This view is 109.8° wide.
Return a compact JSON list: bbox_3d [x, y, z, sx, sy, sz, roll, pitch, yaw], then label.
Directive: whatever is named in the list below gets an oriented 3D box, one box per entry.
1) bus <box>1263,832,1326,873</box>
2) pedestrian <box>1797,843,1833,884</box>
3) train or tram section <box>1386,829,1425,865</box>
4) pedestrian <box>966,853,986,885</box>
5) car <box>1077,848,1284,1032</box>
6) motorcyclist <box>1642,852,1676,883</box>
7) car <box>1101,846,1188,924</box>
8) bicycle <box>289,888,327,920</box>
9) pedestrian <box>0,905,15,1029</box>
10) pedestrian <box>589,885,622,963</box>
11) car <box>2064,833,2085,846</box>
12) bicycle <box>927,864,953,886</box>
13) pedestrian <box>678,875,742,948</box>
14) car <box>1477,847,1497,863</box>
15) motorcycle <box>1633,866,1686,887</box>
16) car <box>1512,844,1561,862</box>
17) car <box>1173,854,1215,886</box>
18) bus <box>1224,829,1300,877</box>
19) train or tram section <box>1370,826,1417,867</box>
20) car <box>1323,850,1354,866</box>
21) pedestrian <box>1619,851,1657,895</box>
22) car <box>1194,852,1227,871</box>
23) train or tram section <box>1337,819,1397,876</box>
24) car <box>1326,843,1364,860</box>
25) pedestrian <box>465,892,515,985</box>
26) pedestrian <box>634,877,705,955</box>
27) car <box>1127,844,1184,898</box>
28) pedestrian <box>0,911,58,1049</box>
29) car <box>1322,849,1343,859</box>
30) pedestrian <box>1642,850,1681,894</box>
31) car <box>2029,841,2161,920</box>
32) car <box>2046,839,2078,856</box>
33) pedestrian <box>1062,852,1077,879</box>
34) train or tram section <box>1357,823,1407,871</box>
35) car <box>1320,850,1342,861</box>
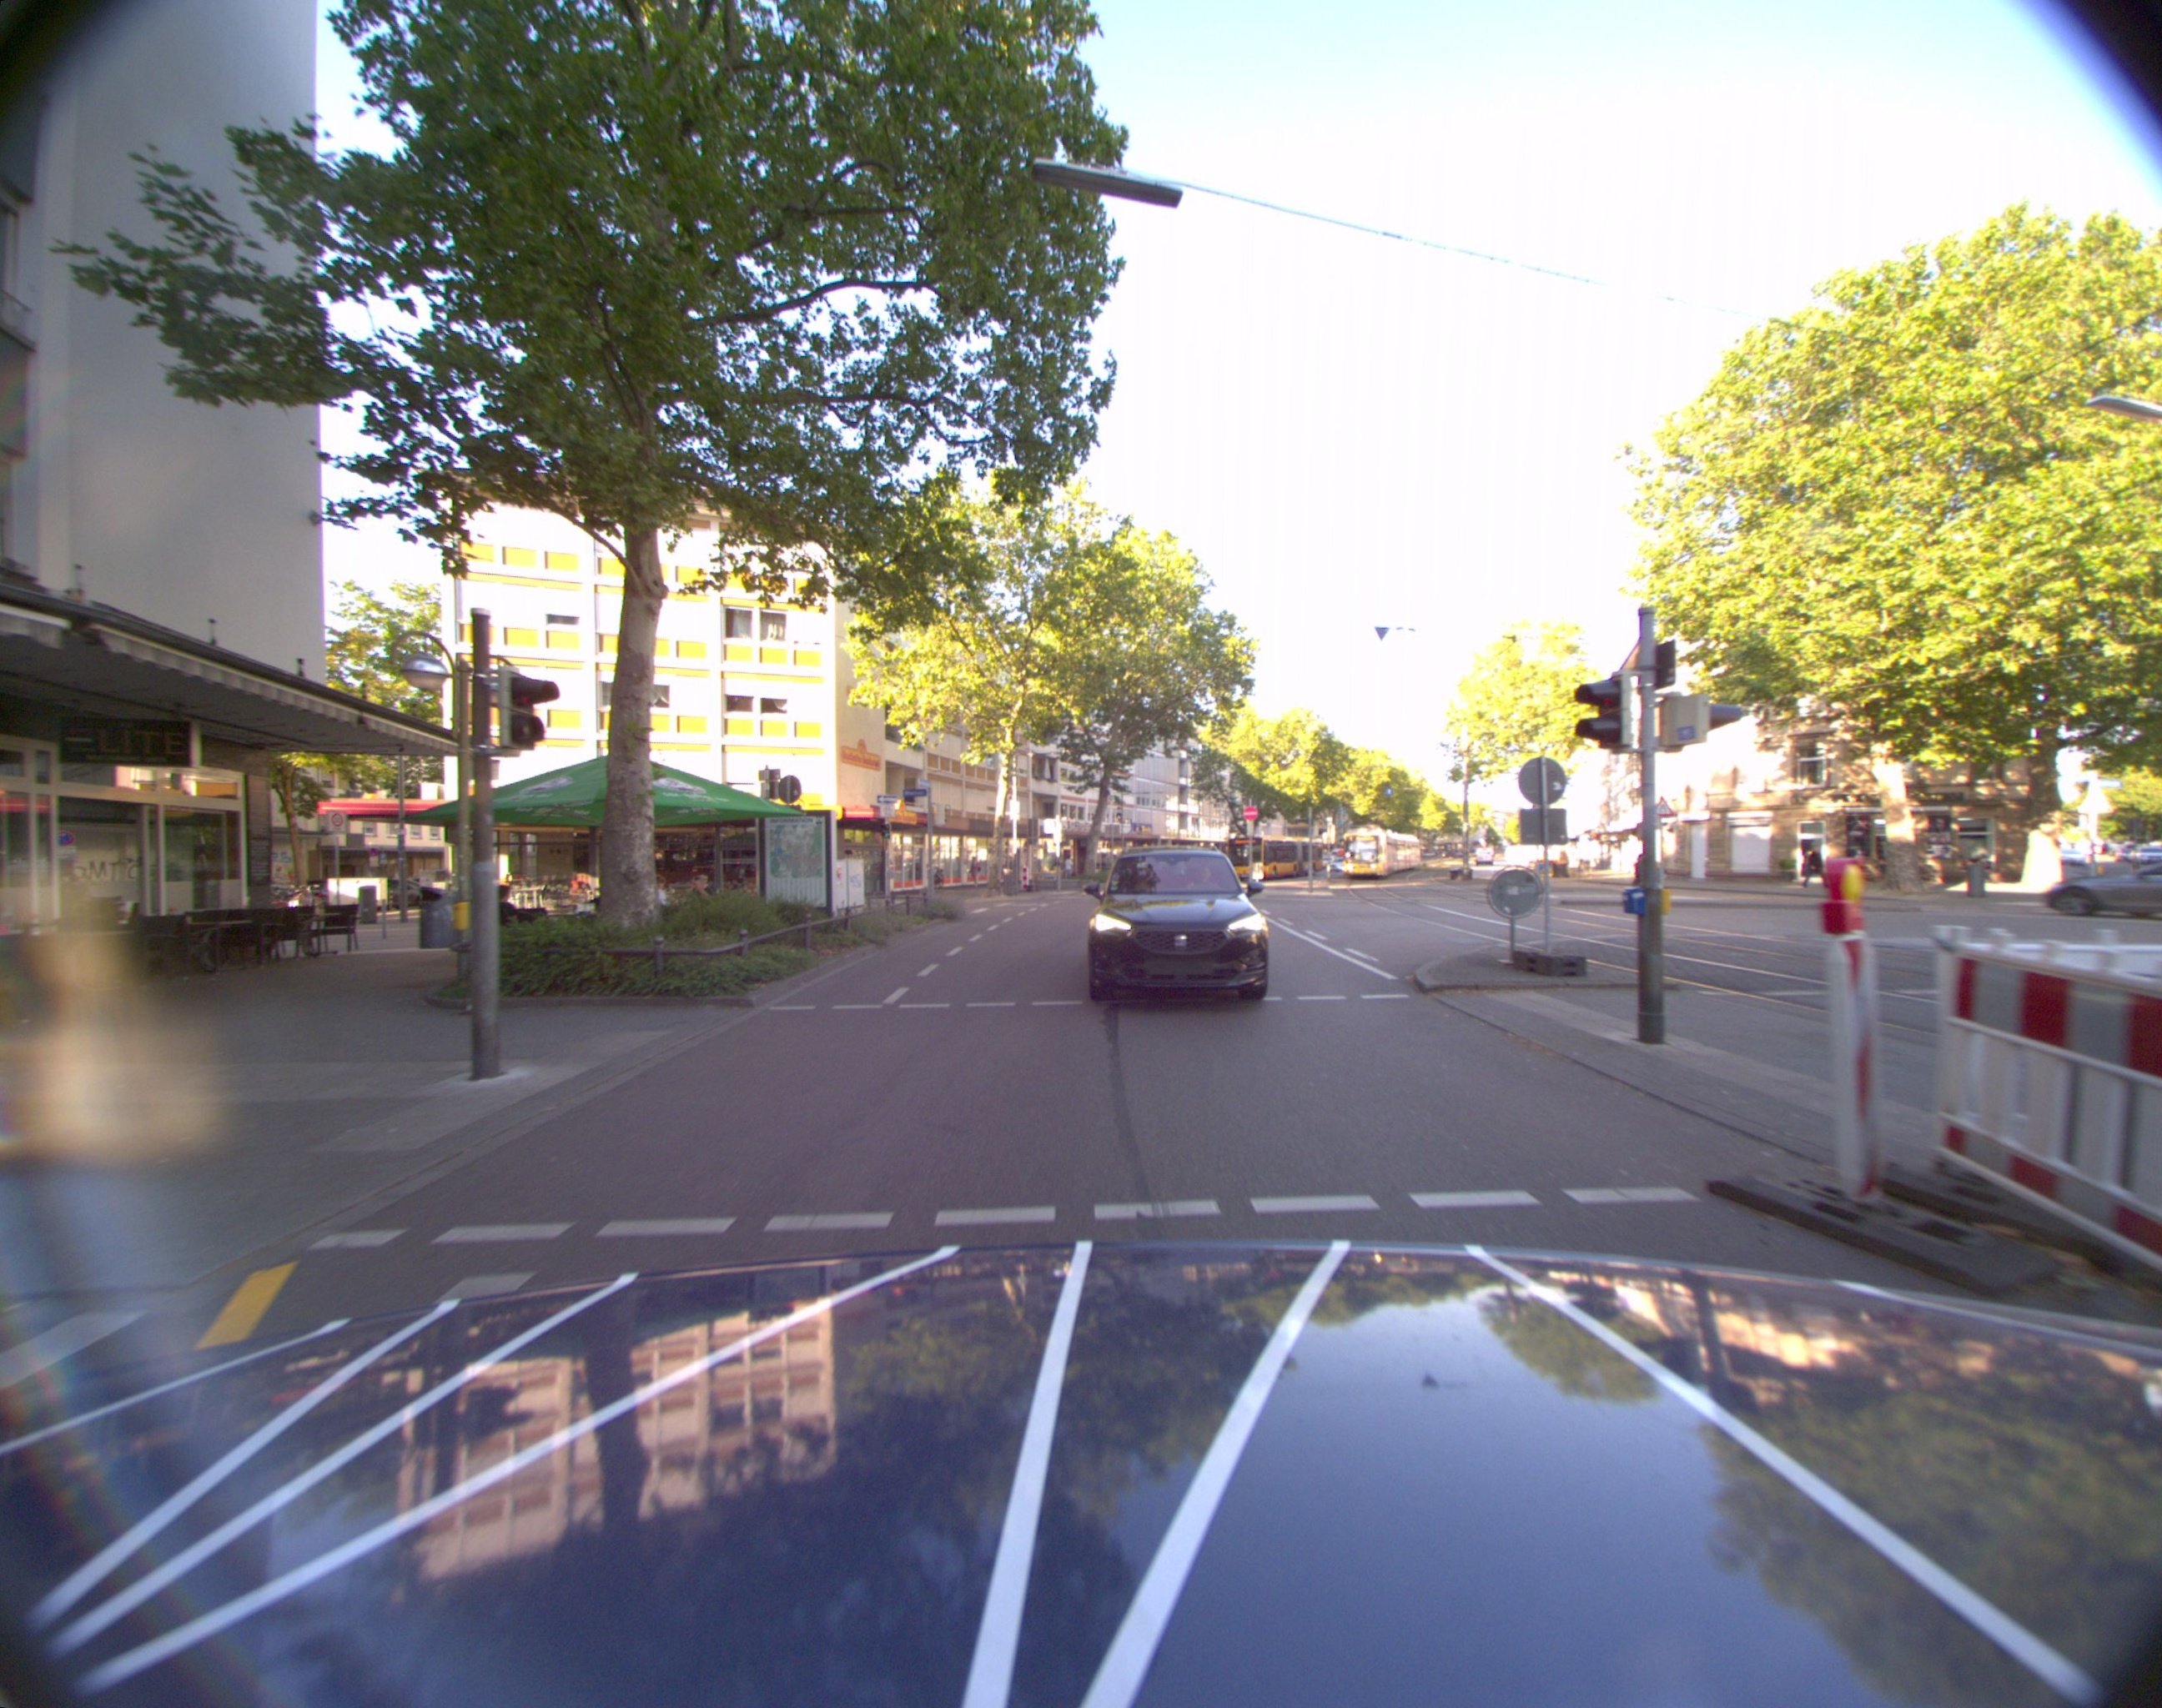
[{"bbox_3d":[17.517,-0.121,61.775,2.748,3.085,9.515,0,0,29],"label":"bus"},{"bbox_3d":[31.913,0.423,33.048,0.797,1.745,0.802,-1,0,-1],"label":"pedestrian"},{"bbox_3d":[33.949,-0.691,79.186,2.837,3.467,10.357,-1,0,28],"label":"train or tram section"},{"bbox_3d":[-5.743,0.816,41.758,0.748,1.747,0.903,-1,0,16],"label":"pedestrian"},{"bbox_3d":[1.028,0.797,9.125,1.848,1.648,4.300,-2,0,3],"label":"car"},{"bbox_3d":[25.140,0.575,33.075,0.682,1.308,0.984,-1,1,-5],"label":"motorcyclist"},{"bbox_3d":[1.525,0.689,18.931,1.848,1.648,4.653,-2,0,3],"label":"car"},{"bbox_3d":[-26.542,1.709,26.105,0.389,0.995,1.426,-1,0,-23],"label":"bicycle"},{"bbox_3d":[-10.865,1.098,7.135,0.666,1.211,0.717,0,-1,-6],"label":"pedestrian"},{"bbox_3d":[-7.681,1.111,12.283,0.433,1.212,0.467,1,0,-30],"label":"pedestrian"},{"bbox_3d":[153.858,-2.265,117.667,4.007,2.003,1.846,-1,0,-37],"label":"car"},{"bbox_3d":[-7.365,1.088,39.850,0.528,1.136,1.976,-1,0,14],"label":"bicycle"},{"bbox_3d":[-6.824,1.049,14.007,0.718,1.278,0.769,-1,0,12],"label":"pedestrian"},{"bbox_3d":[53.211,0.108,99.531,2.162,2.110,4.987,1,0,28],"label":"car"},{"bbox_3d":[25.154,0.980,33.090,0.682,0.804,1.994,-1,1,-5],"label":"motorcycle"},{"bbox_3d":[51.255,-0.096,85.580,4.651,1.965,1.901,-1,0,-12],"label":"car"},{"bbox_3d":[5.563,0.775,37.221,1.650,1.463,3.712,-1,-1,14],"label":"car"},{"bbox_3d":[12.893,-0.069,53.468,2.748,3.085,9.514,-1,0,29],"label":"bus"},{"bbox_3d":[28.940,-0.651,70.095,2.873,3.467,10.357,-1,0,28],"label":"train or tram section"},{"bbox_3d":[25.519,0.387,75.271,1.907,1.467,4.426,0,1,31],"label":"car"},{"bbox_3d":[19.469,0.637,26.546,0.799,1.500,0.800,-1,0,-29],"label":"pedestrian"},{"bbox_3d":[10.732,0.610,62.903,1.649,1.463,3.715,-1,-1,27],"label":"car"},{"bbox_3d":[19.590,-0.455,51.611,2.818,3.467,10.356,-1,0,26],"label":"train or tram section"},{"bbox_3d":[38.795,-0.393,111.699,4.868,2.362,1.878,-1,1,-11],"label":"car"},{"bbox_3d":[-8.196,1.153,10.541,0.469,1.212,0.431,-2,0,-45],"label":"pedestrian"},{"bbox_3d":[-7.076,1.045,13.079,0.718,1.278,0.769,-1,0,13],"label":"pedestrian"},{"bbox_3d":[2.563,0.524,25.911,1.743,1.630,4.301,-2,0,6],"label":"car"},{"bbox_3d":[-10.014,1.127,6.769,0.847,1.191,0.649,1,-1,-23],"label":"pedestrian"},{"bbox_3d":[34.967,0.055,105.629,2.627,1.337,1.201,-1,1,2],"label":"car"},{"bbox_3d":[20.366,0.615,26.649,0.798,1.500,0.800,-1,0,-24],"label":"pedestrian"},{"bbox_3d":[23.728,0.548,15.826,1.953,1.645,4.688,0,-1,-5],"label":"car"},{"bbox_3d":[89.840,-0.592,69.581,4.007,1.485,1.723,-1,0,-37],"label":"car"},{"bbox_3d":[-0.777,0.731,50.228,0.748,1.747,0.903,-1,0,16],"label":"pedestrian"},{"bbox_3d":[24.272,-0.565,60.880,2.837,3.467,10.356,-1,0,26],"label":"train or tram section"},{"bbox_3d":[33.764,0.201,102.715,2.627,1.380,1.201,-1,1,2],"label":"car"}]
